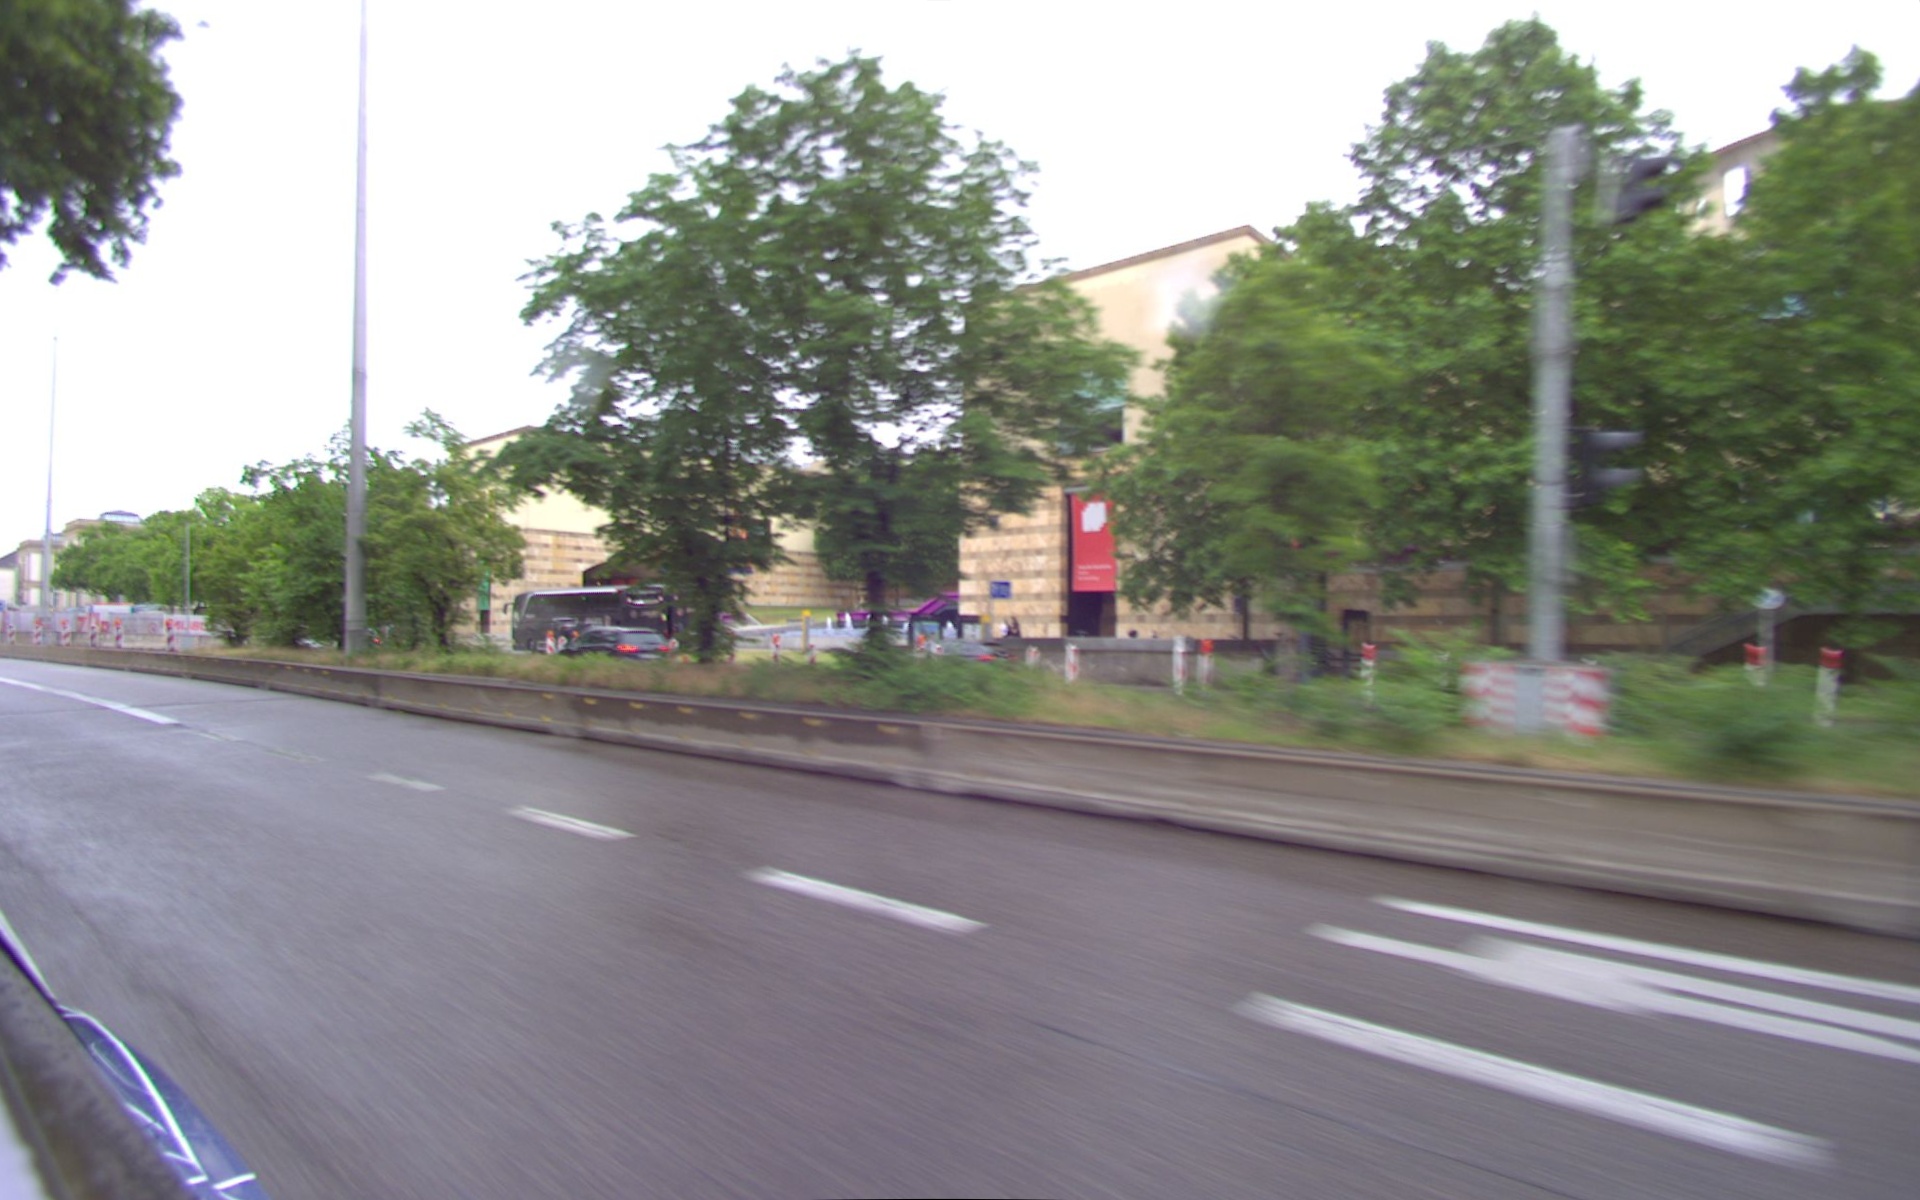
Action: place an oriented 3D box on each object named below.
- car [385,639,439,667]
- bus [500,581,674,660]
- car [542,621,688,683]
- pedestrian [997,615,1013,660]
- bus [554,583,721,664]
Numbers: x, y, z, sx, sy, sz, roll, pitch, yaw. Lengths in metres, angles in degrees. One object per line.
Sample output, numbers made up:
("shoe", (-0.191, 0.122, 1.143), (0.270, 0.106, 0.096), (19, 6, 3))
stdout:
("car", (-32.076, 3.086, 59.181), (3.209, 1.512, 1.576), (-1, -3, 37))
("bus", (-20.788, 1.148, 55.417), (14.599, 3.840, 2.773), (-2, -1, 44))
("car", (-9.635, 1.409, 28.178), (3.993, 1.608, 1.975), (-1, -2, 37))
("pedestrian", (2.063, 1.730, 46.598), (0.511, 2.029, 0.473), (0, -3, 40))
("bus", (-19.015, 1.354, 58.839), (13.495, 4.284, 3.084), (-2, -1, 43))
